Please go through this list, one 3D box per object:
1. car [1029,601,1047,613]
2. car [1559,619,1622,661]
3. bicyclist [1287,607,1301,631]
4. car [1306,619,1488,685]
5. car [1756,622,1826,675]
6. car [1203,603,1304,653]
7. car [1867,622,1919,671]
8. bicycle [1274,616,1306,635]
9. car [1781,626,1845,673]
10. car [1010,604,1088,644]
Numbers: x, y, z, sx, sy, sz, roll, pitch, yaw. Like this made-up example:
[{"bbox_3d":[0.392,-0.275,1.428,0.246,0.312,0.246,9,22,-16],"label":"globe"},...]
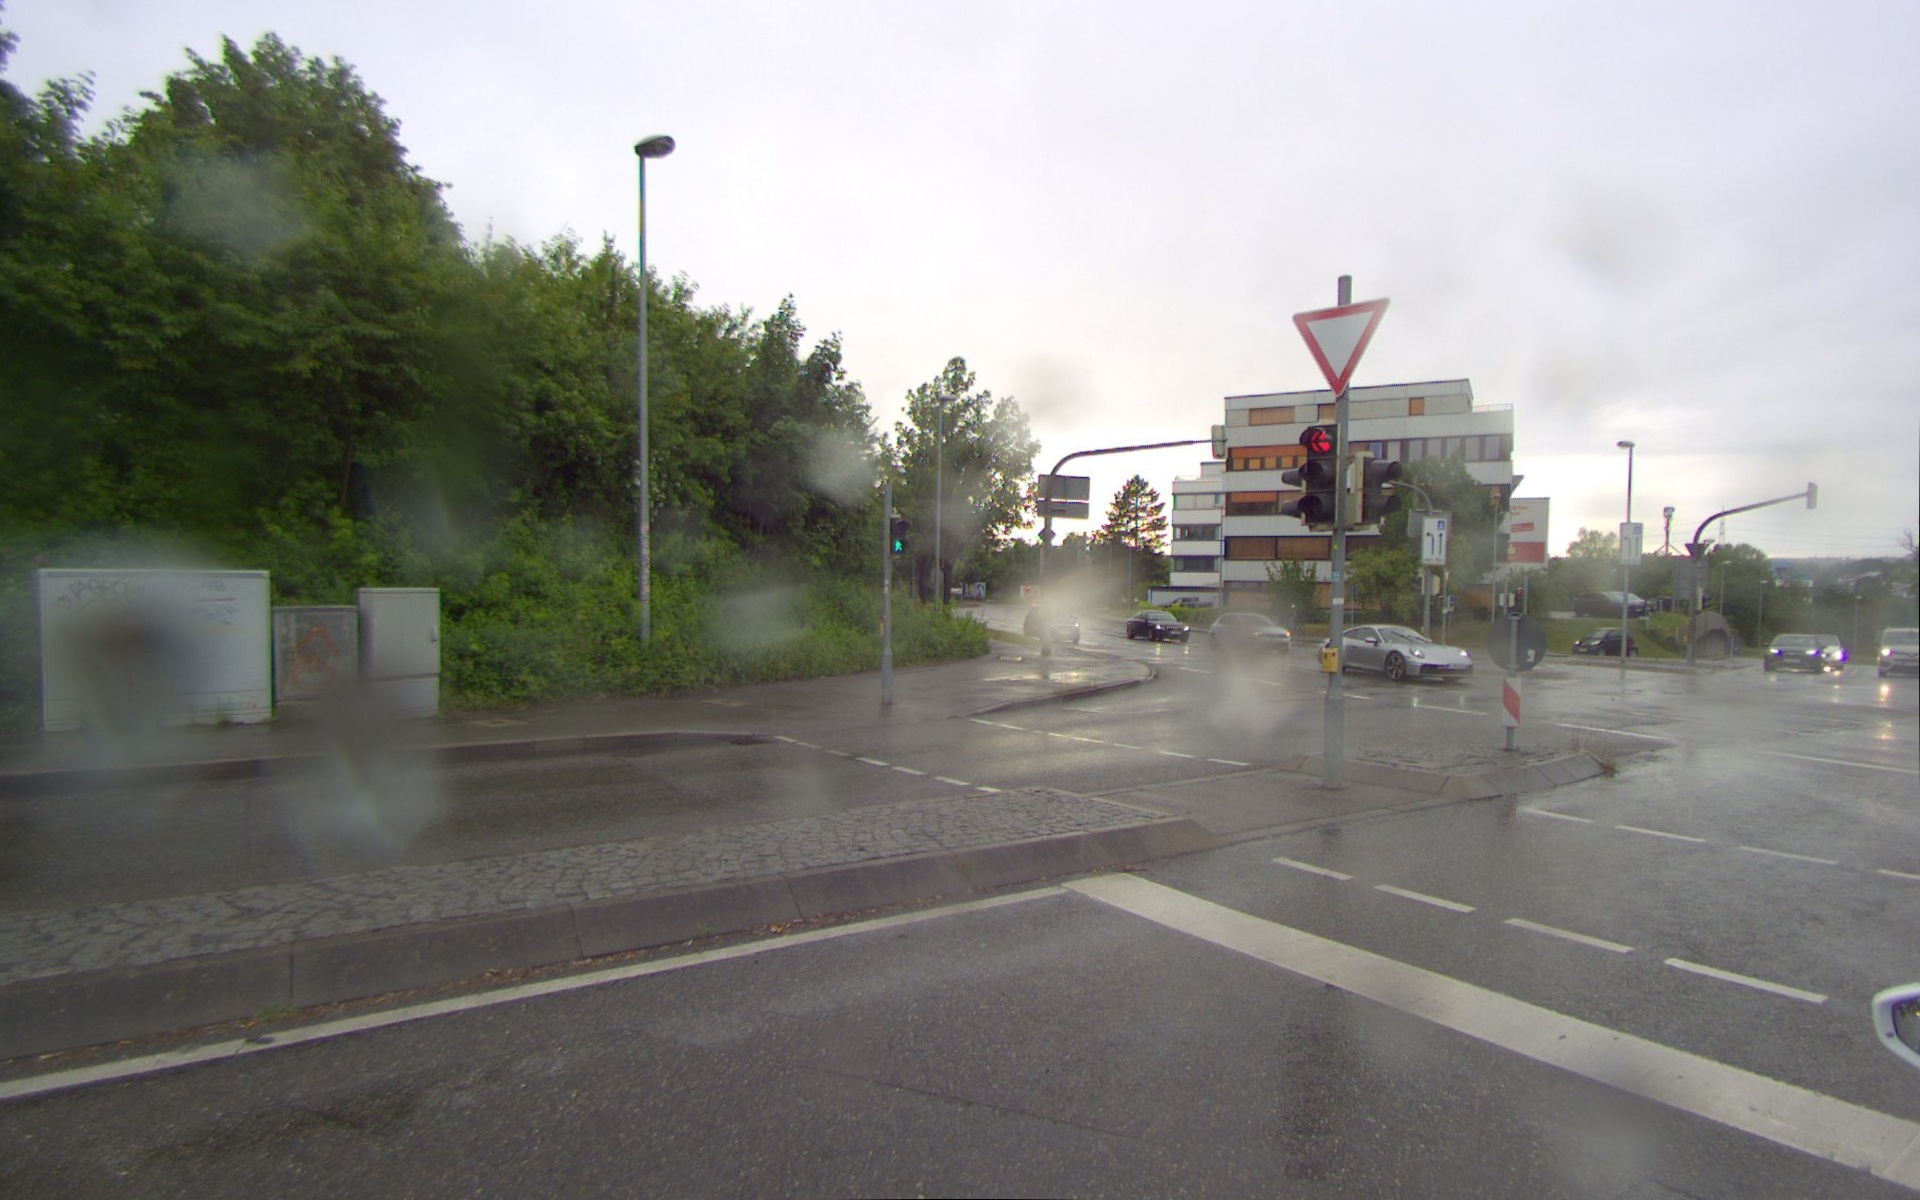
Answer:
[{"bbox_3d":[8.303,0.718,106.604,1.784,1.120,3.517,1,0,5],"label":"car"},{"bbox_3d":[31.883,1.977,50.756,1.972,1.920,3.977,2,1,43],"label":"car"},{"bbox_3d":[20.038,1.135,60.263,0.599,1.465,0.538,1,0,-45],"label":"bicyclist"},{"bbox_3d":[10.988,1.254,25.642,1.827,1.377,4.430,1,1,-17],"label":"car"},{"bbox_3d":[33.621,1.908,40.609,1.971,1.920,3.978,2,1,42],"label":"car"},{"bbox_3d":[11.040,1.030,38.083,1.965,1.706,3.990,1,1,-12],"label":"car"},{"bbox_3d":[34.912,1.693,36.959,3.972,1.639,1.974,1,1,-43],"label":"car"},{"bbox_3d":[19.846,1.509,60.458,0.606,1.066,1.756,1,1,-44],"label":"bicycle"},{"bbox_3d":[38.825,2.194,45.682,1.972,1.920,3.976,2,1,44],"label":"car"},{"bbox_3d":[3.617,0.953,41.674,1.816,1.534,3.984,1,0,-18],"label":"car"}]
